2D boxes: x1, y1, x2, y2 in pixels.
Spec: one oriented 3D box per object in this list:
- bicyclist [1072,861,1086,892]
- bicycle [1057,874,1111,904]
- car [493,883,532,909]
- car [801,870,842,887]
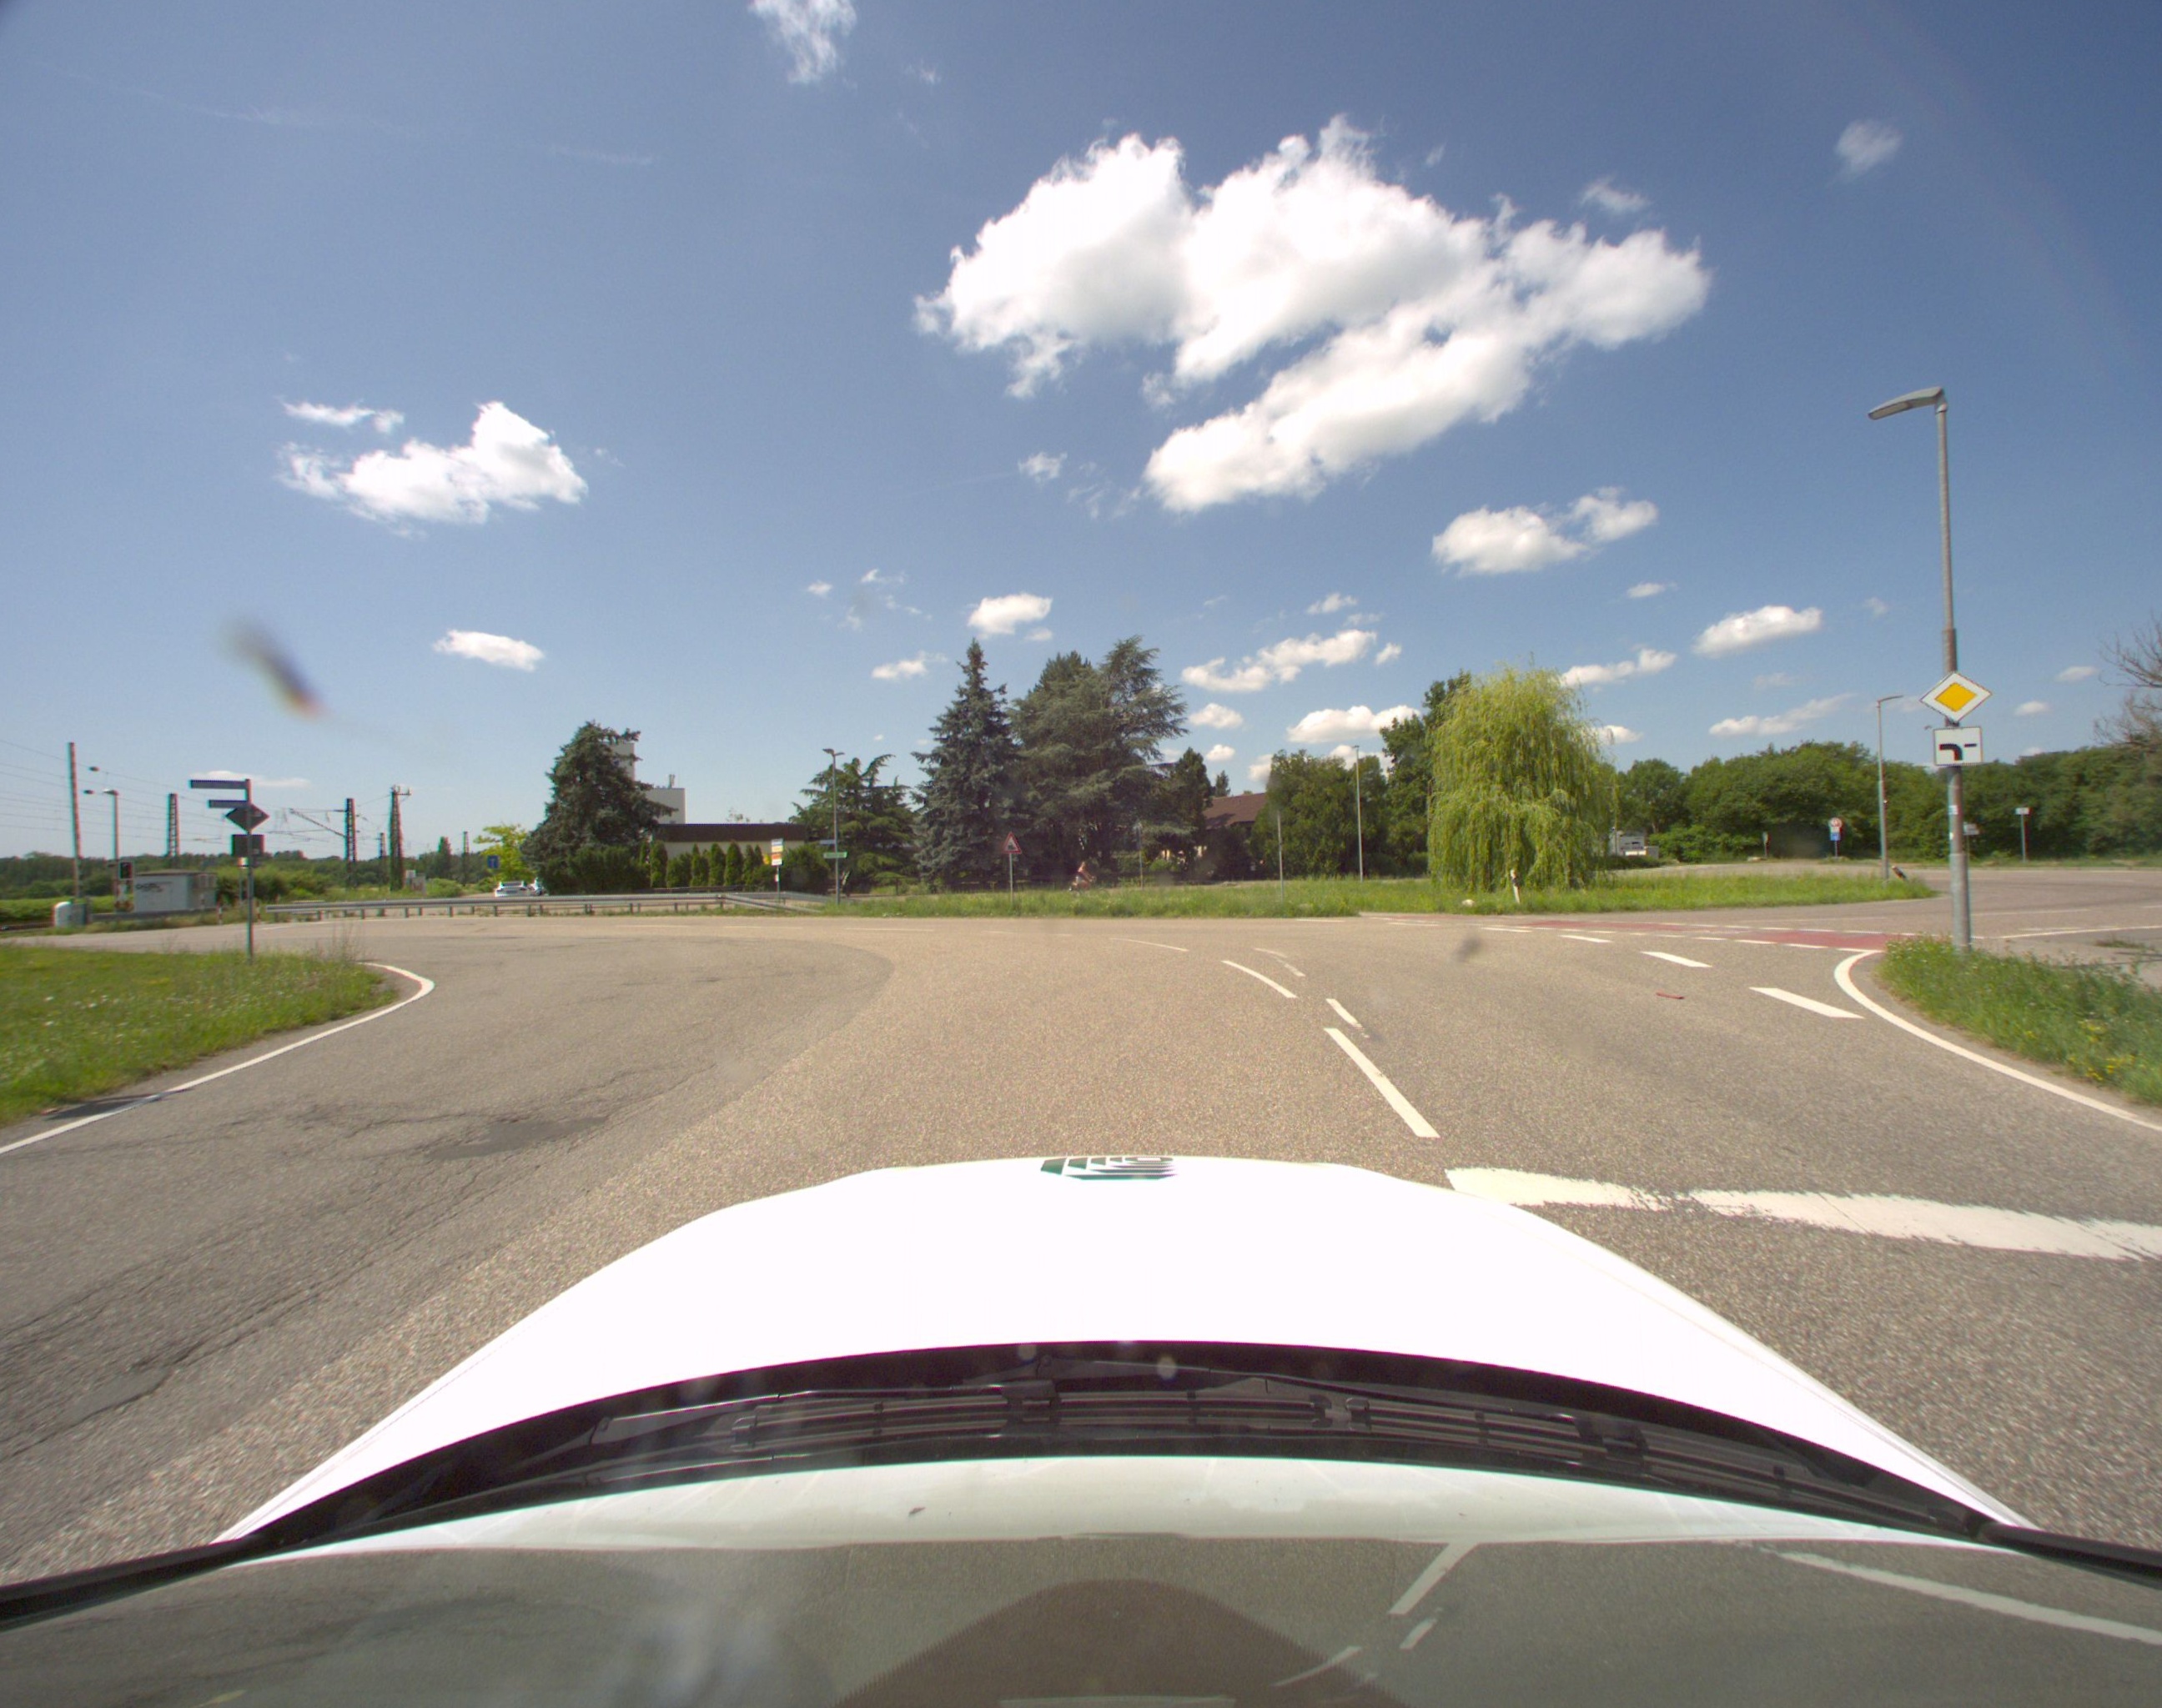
[{"bbox_3d":[-0.086,0.914,33.413,0.507,1.255,0.470,-2,-1,8],"label":"bicyclist"},{"bbox_3d":[0.135,1.423,33.410,2.128,1.165,0.662,-1,-1,6],"label":"bicycle"},{"bbox_3d":[-37.272,2.699,53.385,2.008,1.510,4.406,-1,-1,-35],"label":"car"},{"bbox_3d":[-25.695,2.436,80.604,3.549,1.585,1.549,-1,-1,-33],"label":"car"}]
